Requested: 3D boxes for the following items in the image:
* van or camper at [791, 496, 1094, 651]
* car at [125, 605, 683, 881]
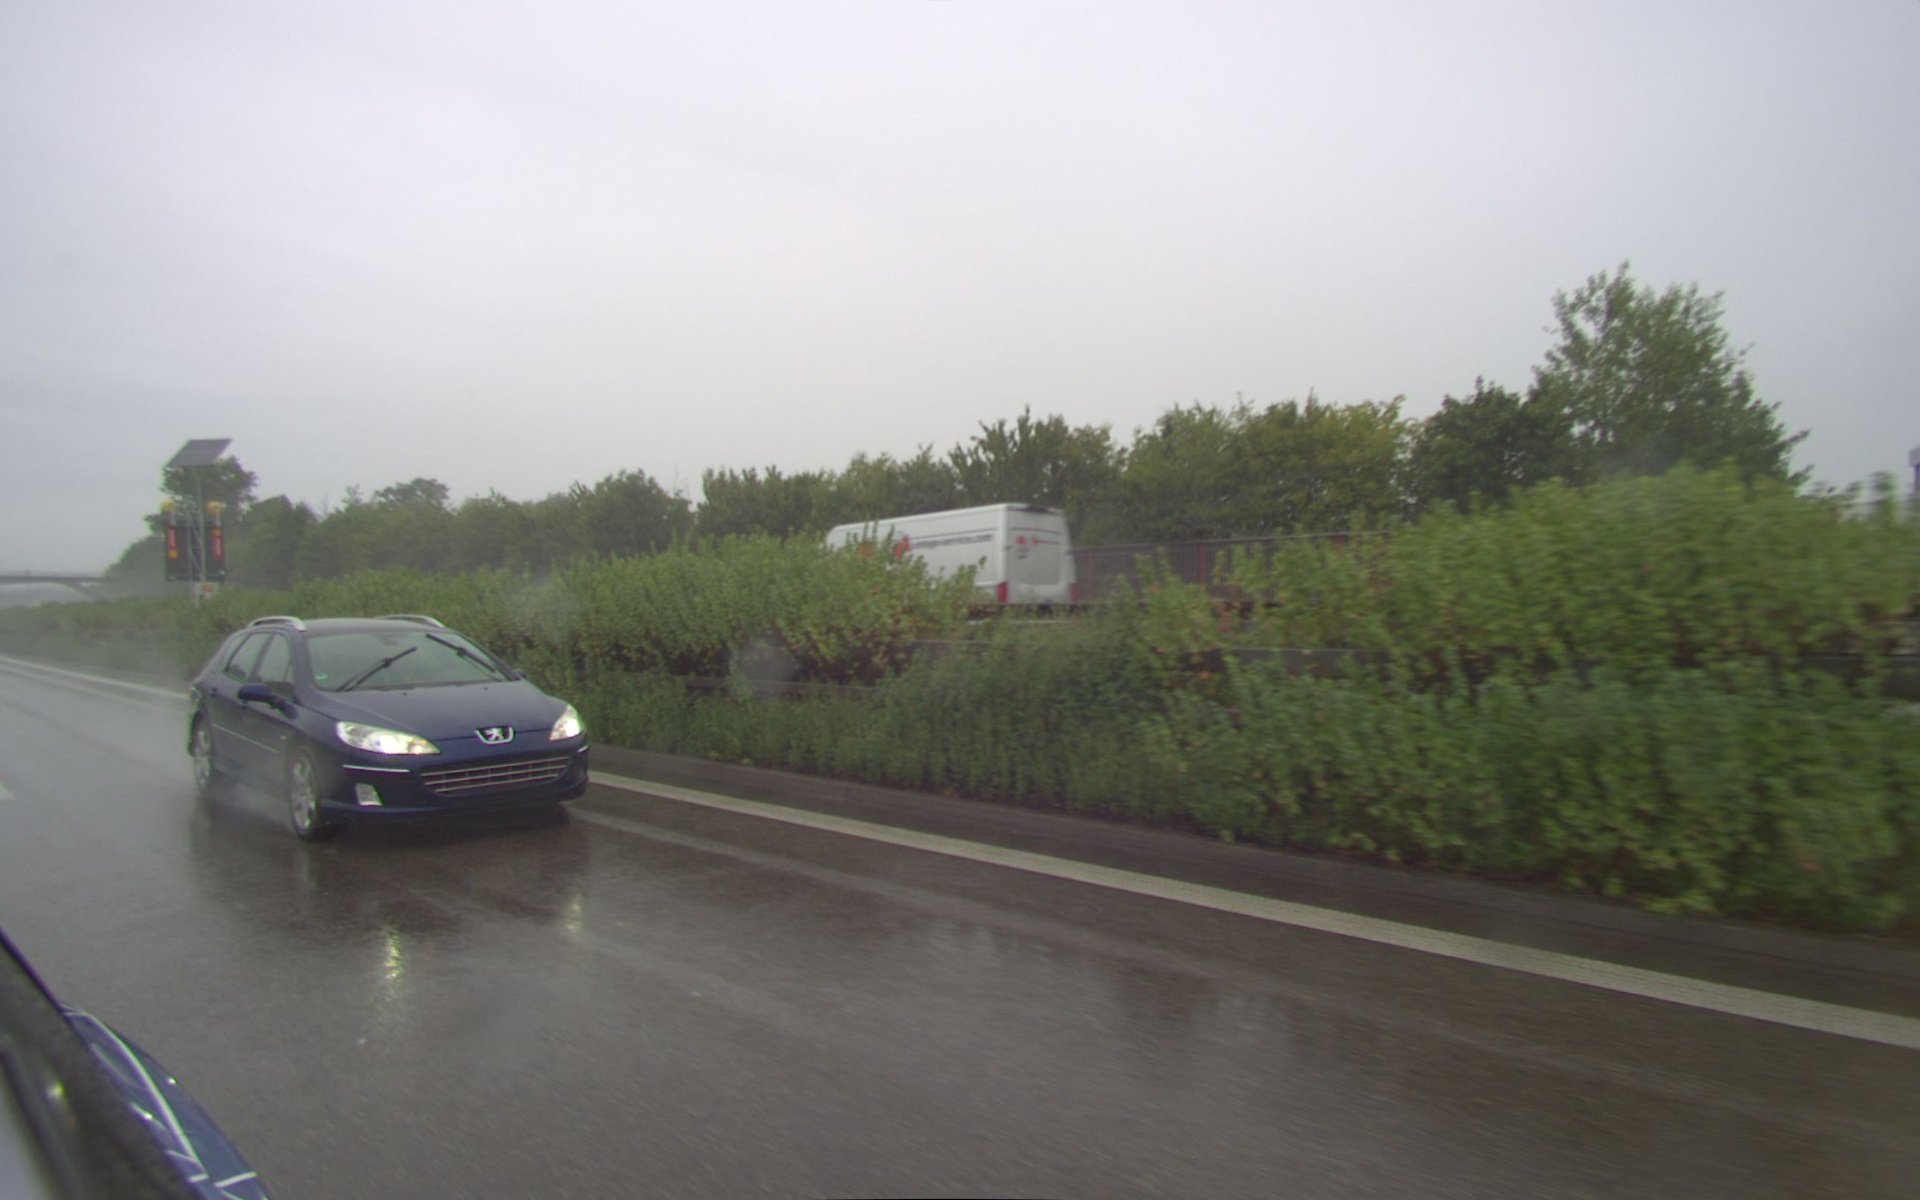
[{"bbox_3d":[-0.424,-0.326,16.641,4.944,2.172,1.973,-2,-1,41],"label":"van or camper"},{"bbox_3d":[-4.604,0.836,7.975,5.151,1.496,2.034,-1,-1,39],"label":"car"}]
